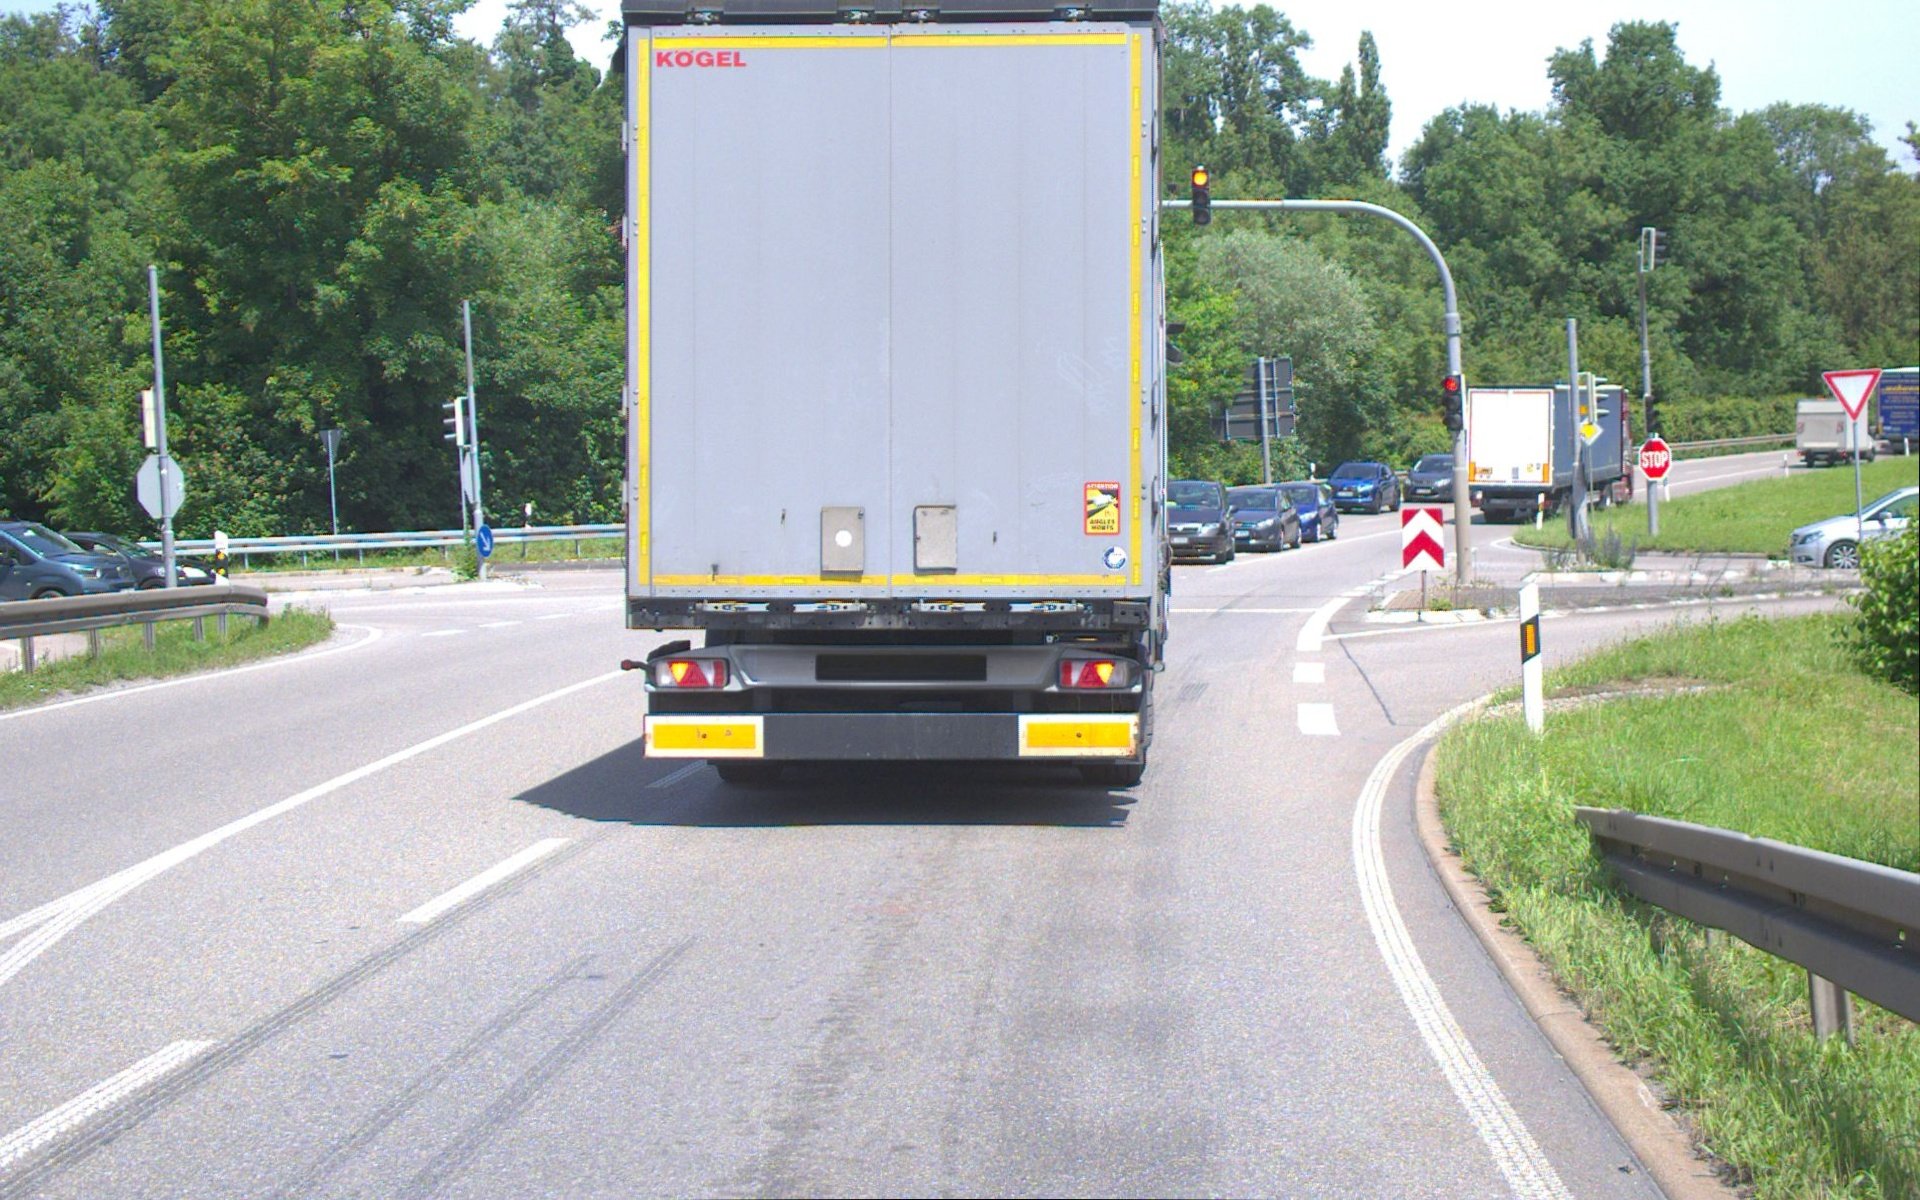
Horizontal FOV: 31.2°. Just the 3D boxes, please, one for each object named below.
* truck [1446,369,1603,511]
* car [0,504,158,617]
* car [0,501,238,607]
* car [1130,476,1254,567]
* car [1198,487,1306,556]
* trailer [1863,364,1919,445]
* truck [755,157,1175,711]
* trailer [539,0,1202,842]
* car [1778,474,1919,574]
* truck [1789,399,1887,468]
[{"bbox_3d":[17.176,-4.940,103.833,3.182,4.014,11.738,0,4,17],"label":"truck"},{"bbox_3d":[-15.292,-0.630,55.229,4.236,1.764,1.999,0,1,14],"label":"car"},{"bbox_3d":[-14.859,-0.798,59.337,4.236,1.764,1.999,0,1,14],"label":"car"},{"bbox_3d":[4.921,-1.618,72.389,1.994,1.779,4.940,1,0,11],"label":"car"},{"bbox_3d":[6.850,-1.818,80.324,1.994,1.485,4.255,1,0,12],"label":"car"},{"bbox_3d":[46.299,-9.412,166.449,3.256,3.672,9.238,1,2,26],"label":"trailer"},{"bbox_3d":[0.194,-1.317,28.439,3.038,4.020,6.629,0,2,3],"label":"truck"},{"bbox_3d":[-0.116,-1.099,22.231,3.052,4.020,12.559,0,2,3],"label":"trailer"},{"bbox_3d":[16.772,-1.321,60.597,4.429,1.712,1.999,1,0,9],"label":"car"},{"bbox_3d":[38.833,-7.308,151.881,2.859,2.937,7.095,1,2,26],"label":"truck"}]
